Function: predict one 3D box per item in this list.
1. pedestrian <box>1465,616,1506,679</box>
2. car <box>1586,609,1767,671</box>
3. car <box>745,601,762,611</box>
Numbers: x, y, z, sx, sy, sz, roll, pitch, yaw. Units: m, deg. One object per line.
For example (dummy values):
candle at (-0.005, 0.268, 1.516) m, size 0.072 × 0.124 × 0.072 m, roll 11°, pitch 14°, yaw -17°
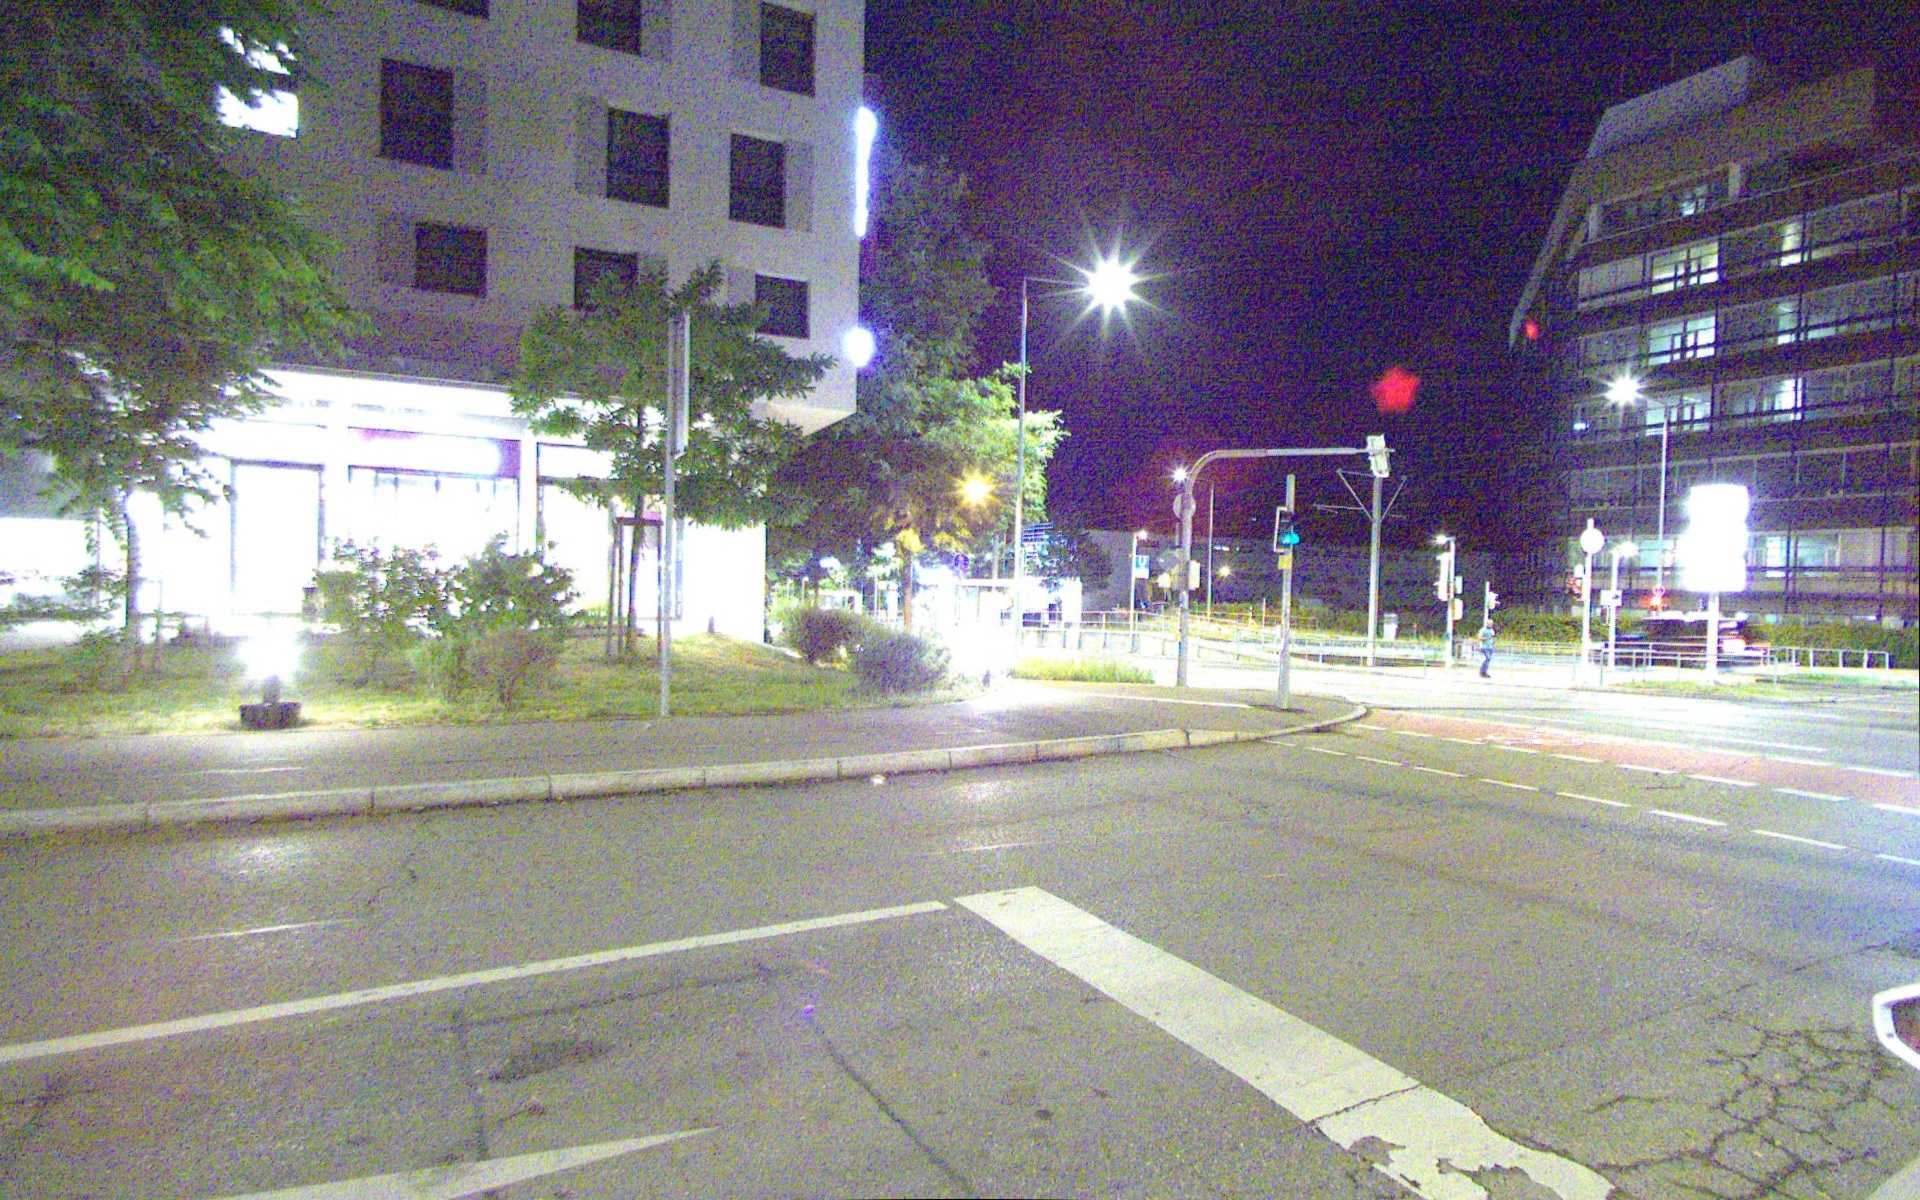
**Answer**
pedestrian at (14.985, 1.340, 28.644) m, size 0.669 × 1.745 × 0.702 m, roll 2°, pitch 0°, yaw -22°
car at (25.333, 1.355, 35.732) m, size 1.845 × 1.909 × 4.926 m, roll 2°, pitch 0°, yaw -26°
car at (-33.503, 1.009, 162.918) m, size 1.845 × 1.506 × 3.822 m, roll 3°, pitch 0°, yaw -26°
